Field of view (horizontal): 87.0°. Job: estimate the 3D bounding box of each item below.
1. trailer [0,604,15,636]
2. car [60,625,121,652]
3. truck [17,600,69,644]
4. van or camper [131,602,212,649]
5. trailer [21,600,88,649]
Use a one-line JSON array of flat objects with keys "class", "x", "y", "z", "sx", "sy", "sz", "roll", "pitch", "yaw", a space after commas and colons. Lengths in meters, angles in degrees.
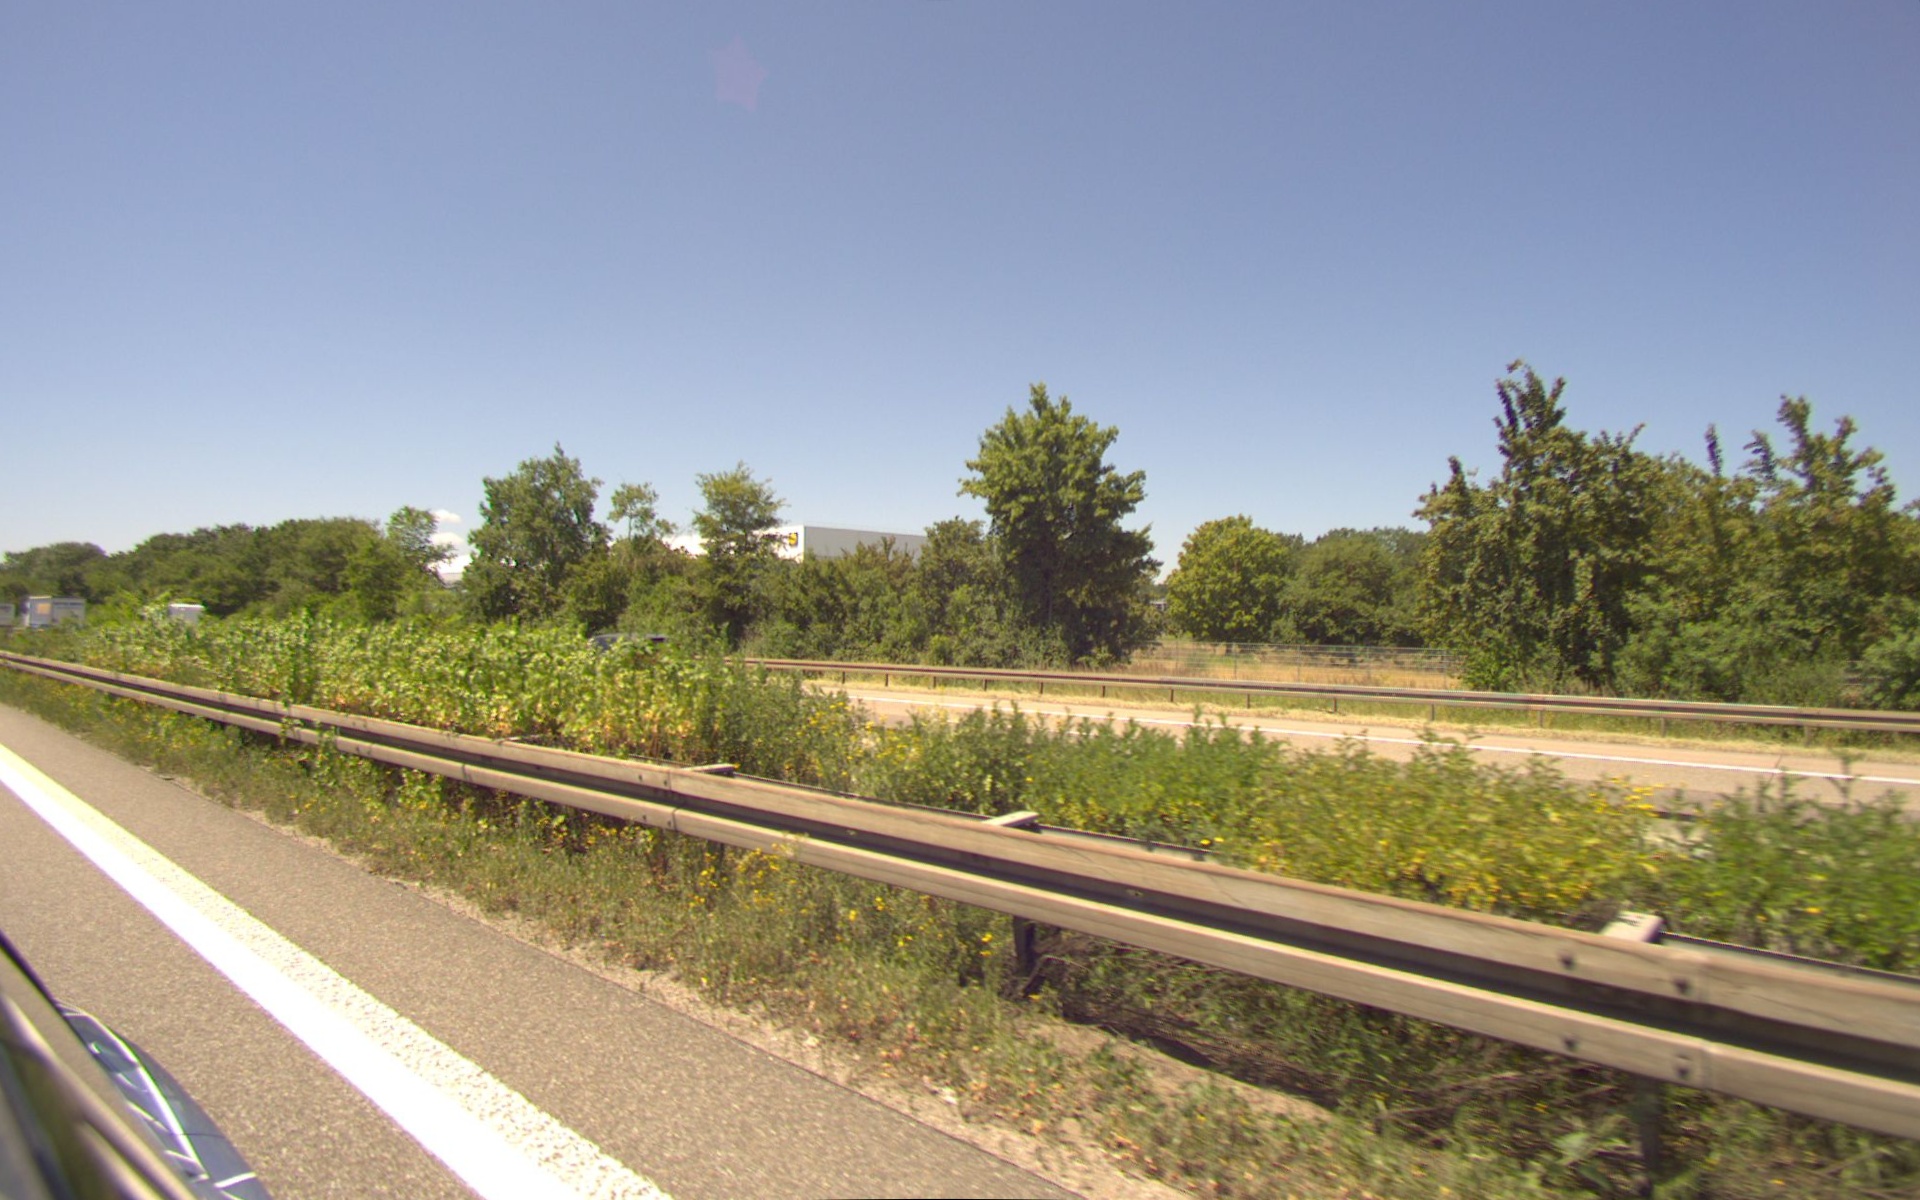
[{"class": "trailer", "x": -130.985, "y": 2.672, "z": 137.171, "sx": 14.047, "sy": 4.134, "sz": 2.728, "roll": -1, "pitch": -4, "yaw": 42}, {"class": "car", "x": -50.492, "y": 2.204, "z": 58.736, "sx": 4.748, "sy": 1.479, "sz": 1.937, "roll": -1, "pitch": -4, "yaw": 41}, {"class": "truck", "x": -92.348, "y": 2.201, "z": 101.881, "sx": 6.308, "sy": 4.243, "sz": 2.975, "roll": 1, "pitch": -2, "yaw": 41}, {"class": "van or camper", "x": -53.075, "y": 1.717, "z": 68.082, "sx": 7.443, "sy": 2.992, "sz": 2.820, "roll": -1, "pitch": -4, "yaw": 41}, {"class": "trailer", "x": -87.478, "y": 2.288, "z": 97.654, "sx": 13.729, "sy": 4.243, "sz": 2.946, "roll": 1, "pitch": -2, "yaw": 41}]
